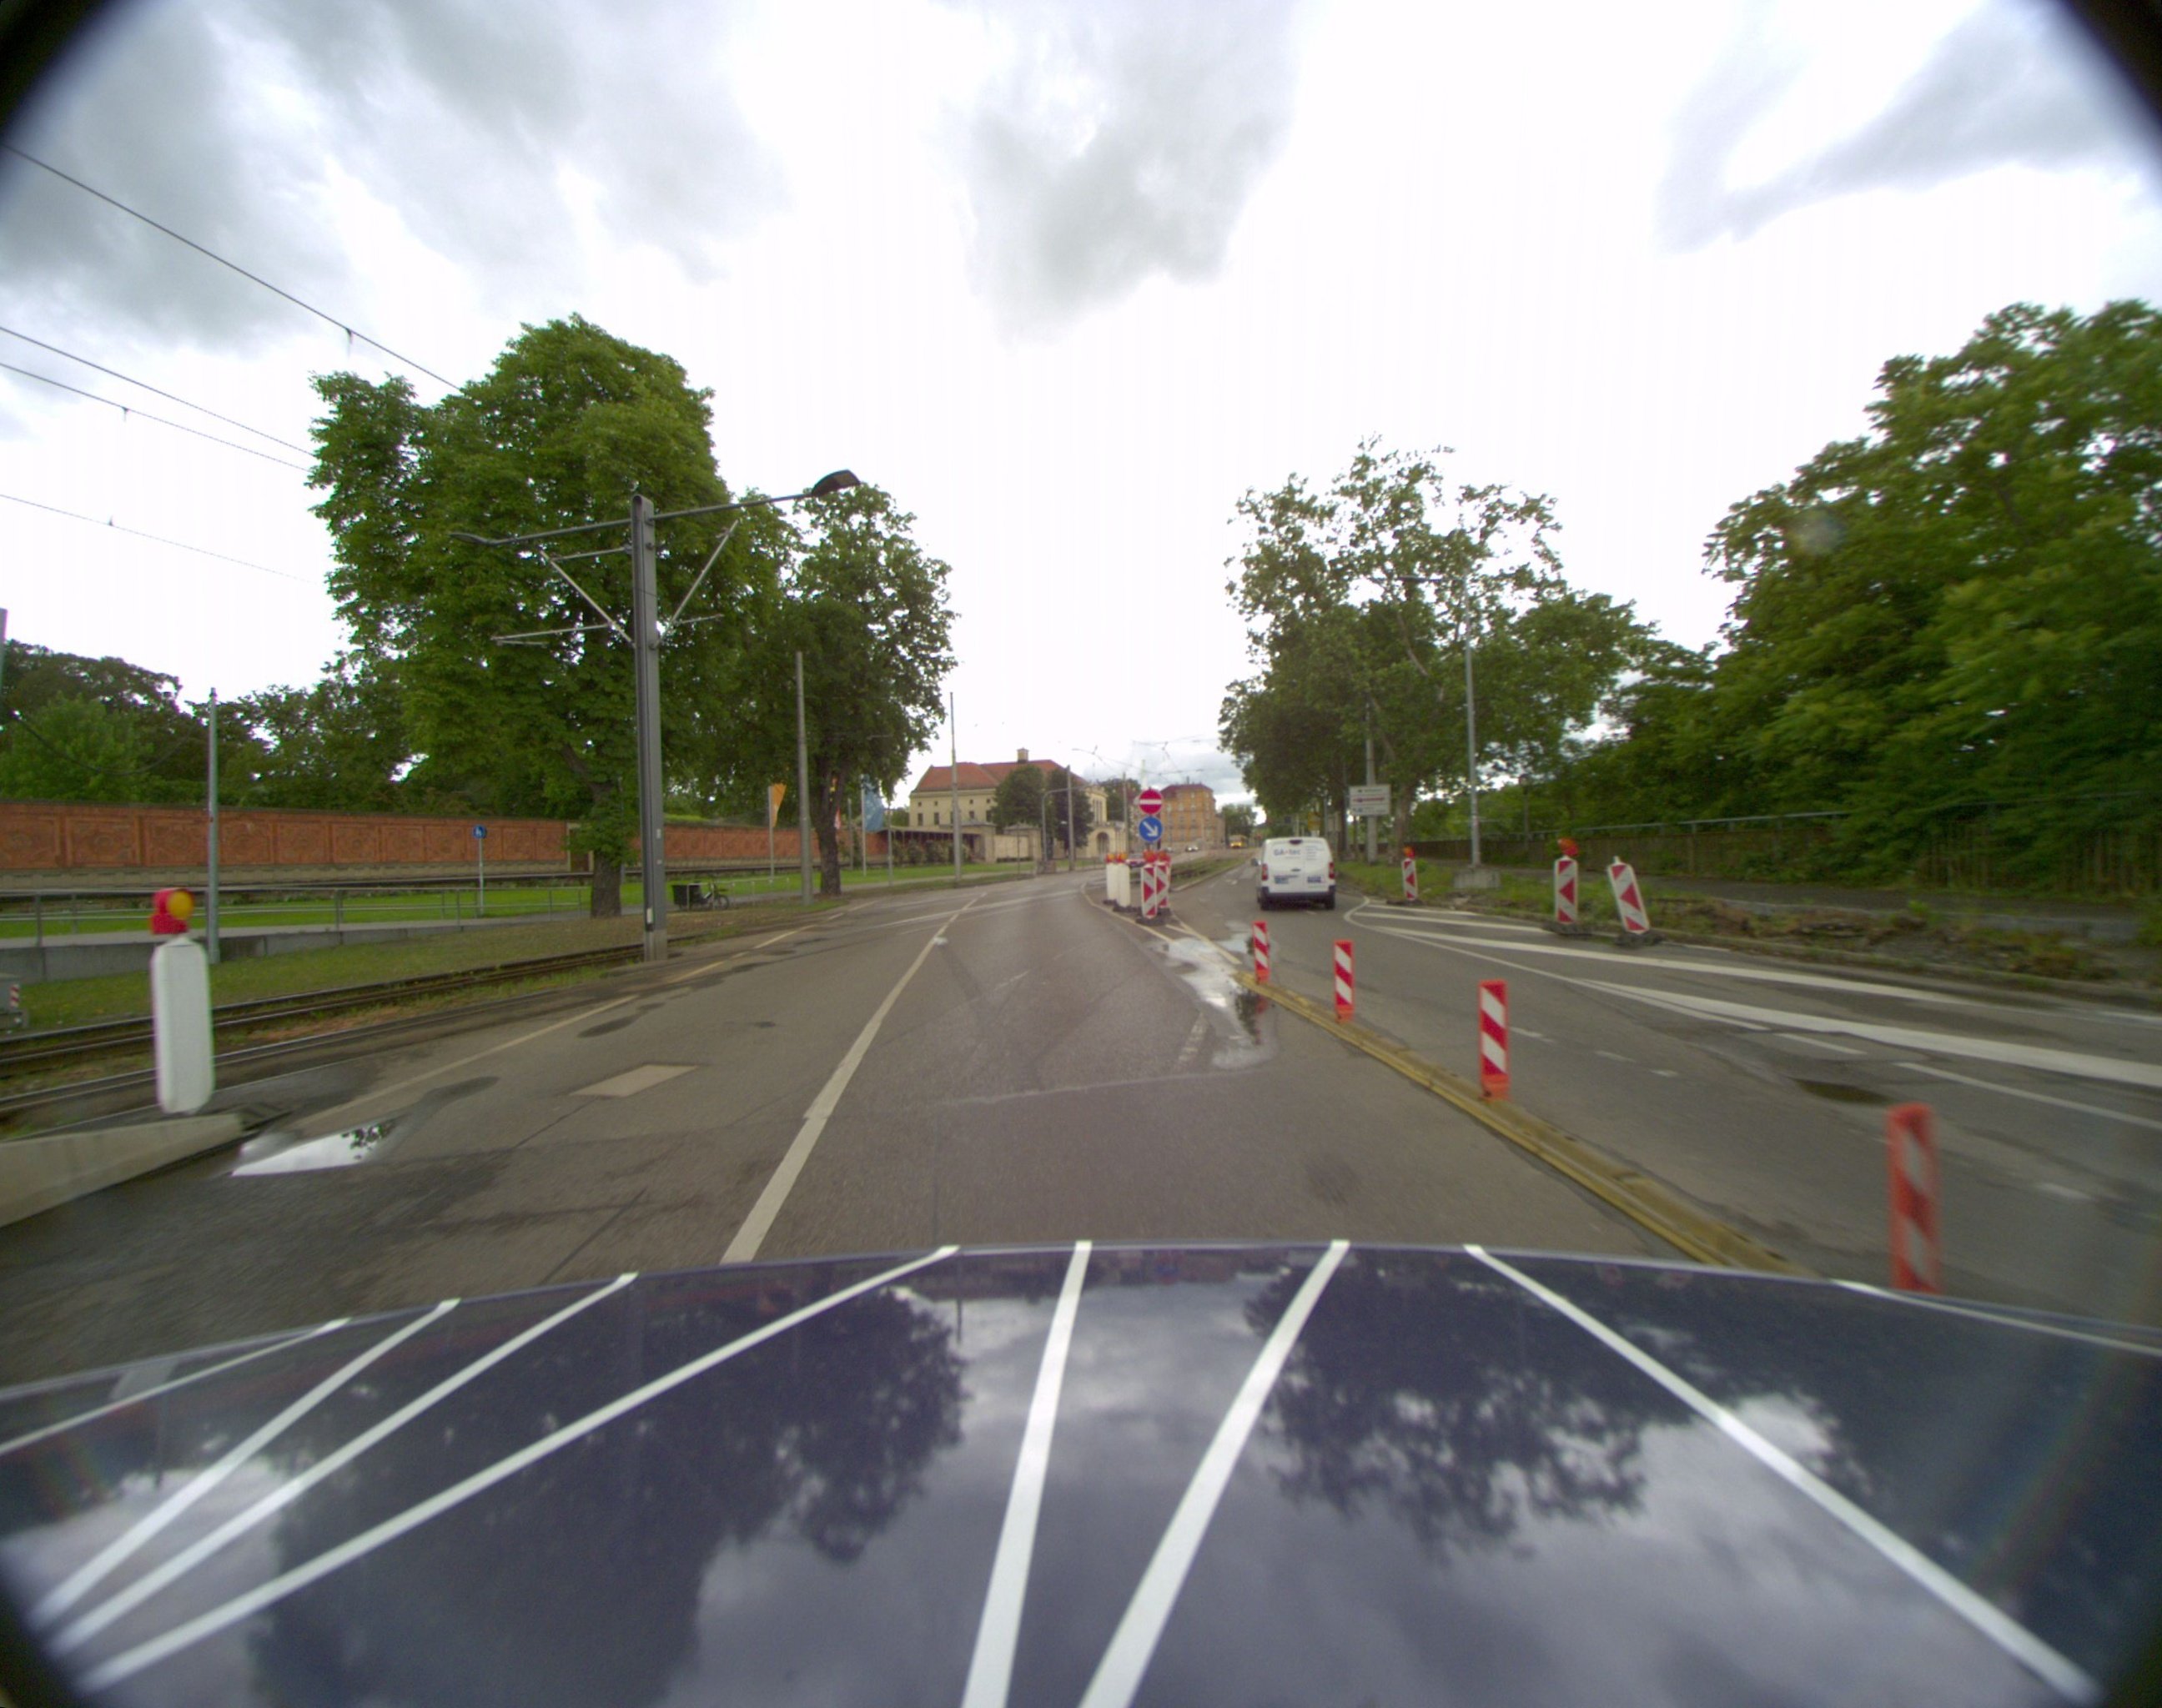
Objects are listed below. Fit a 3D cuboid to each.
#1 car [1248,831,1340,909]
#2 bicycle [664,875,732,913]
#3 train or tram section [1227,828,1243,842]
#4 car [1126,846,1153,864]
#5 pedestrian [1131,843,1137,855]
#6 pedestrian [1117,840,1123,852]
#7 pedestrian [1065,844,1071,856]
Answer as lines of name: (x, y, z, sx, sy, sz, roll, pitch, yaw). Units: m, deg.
car: (5.473, 0.342, 20.070, 1.866, 1.772, 4.751, -2, 1, 10)
bicycle: (-12.404, 1.286, 24.584, 1.993, 1.151, 0.742, -1, 1, 19)
train or tram section: (40.427, -5.030, 199.007, 3.735, 3.346, 17.569, 0, 2, 13)
car: (5.373, 0.080, 69.213, 1.679, 1.433, 4.123, -4, 0, 14)
pedestrian: (7.827, -0.742, 111.233, 0.671, 1.758, 0.937, -1, 1, 14)
pedestrian: (5.587, -1.146, 108.621, 0.671, 1.758, 0.937, -1, 1, 14)
pedestrian: (-1.924, -0.609, 113.645, 0.596, 1.782, 0.809, -1, 2, 14)
